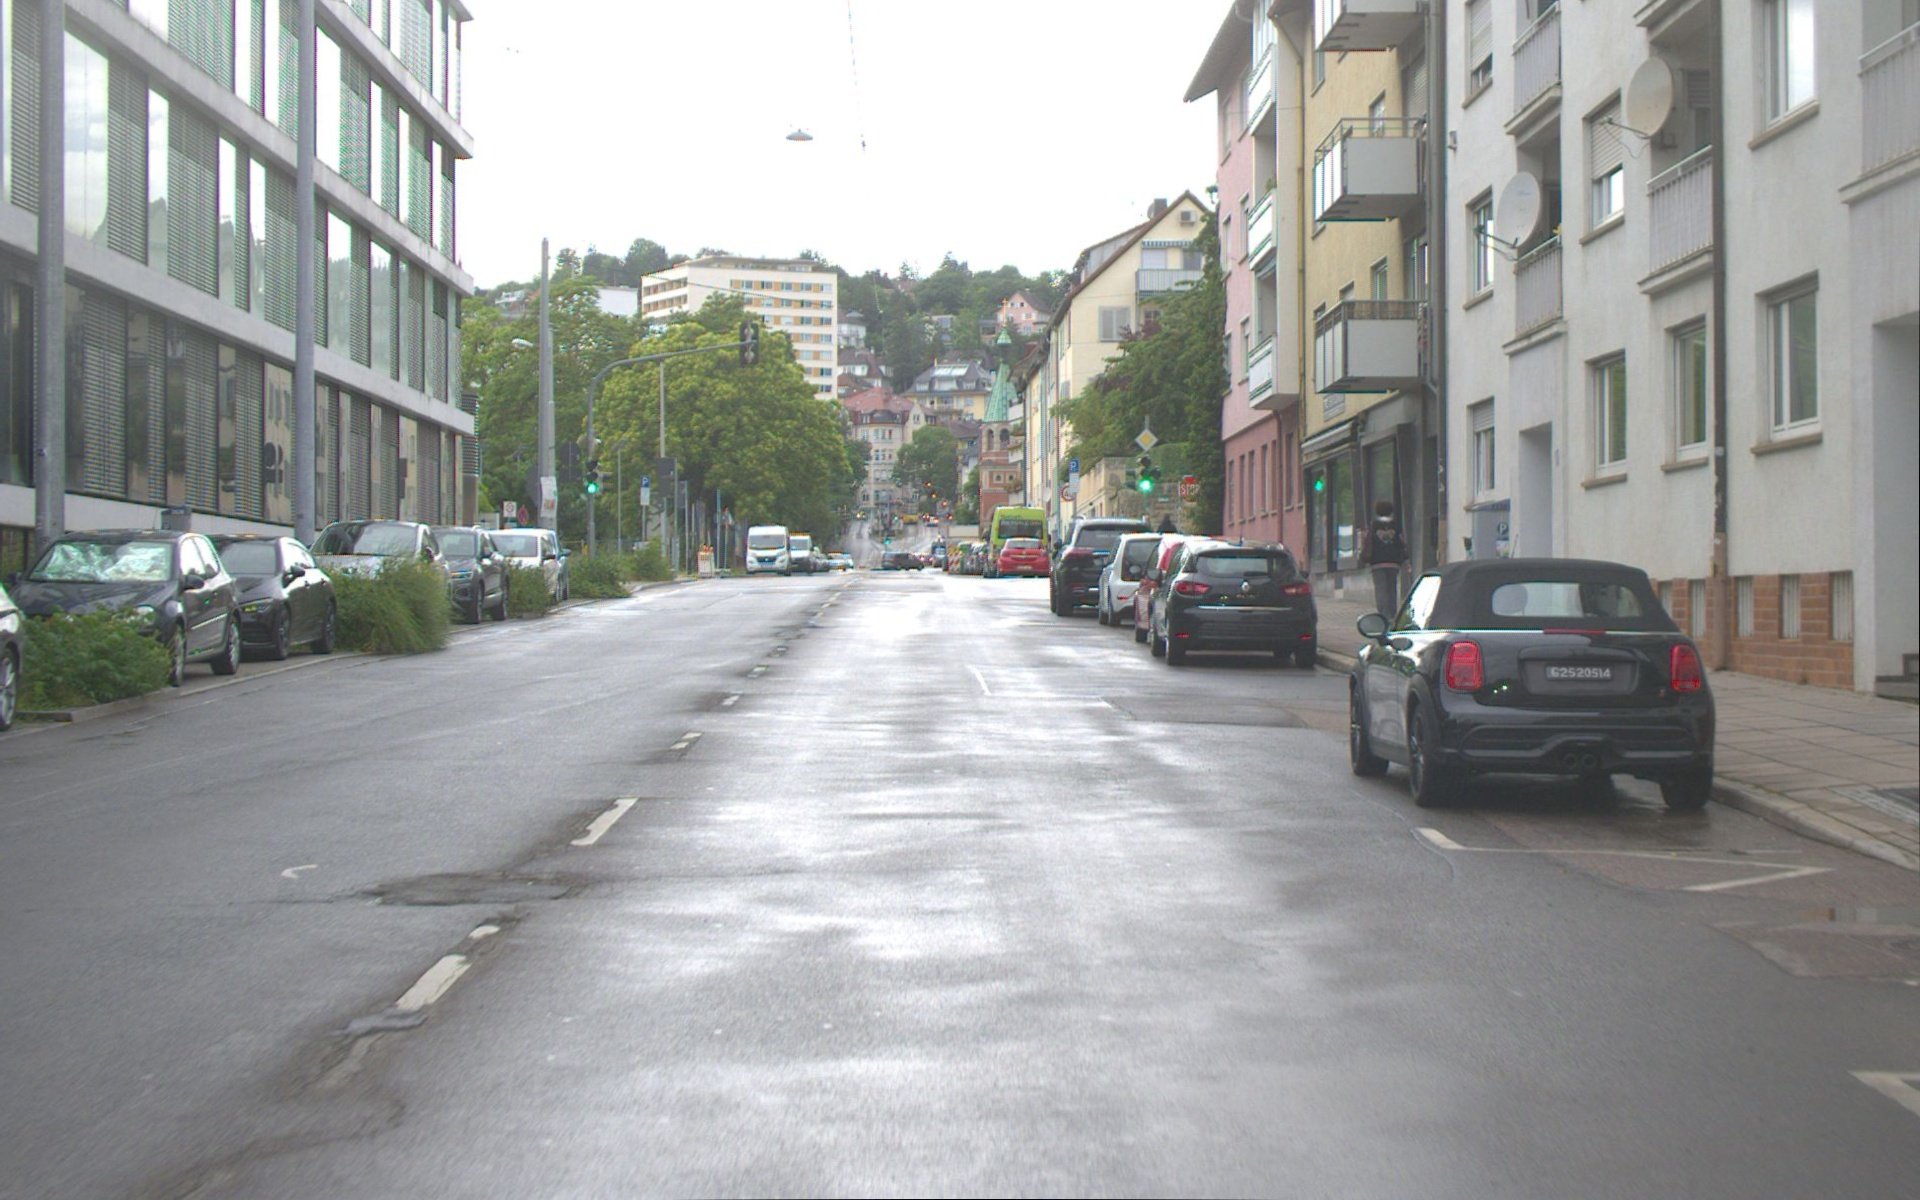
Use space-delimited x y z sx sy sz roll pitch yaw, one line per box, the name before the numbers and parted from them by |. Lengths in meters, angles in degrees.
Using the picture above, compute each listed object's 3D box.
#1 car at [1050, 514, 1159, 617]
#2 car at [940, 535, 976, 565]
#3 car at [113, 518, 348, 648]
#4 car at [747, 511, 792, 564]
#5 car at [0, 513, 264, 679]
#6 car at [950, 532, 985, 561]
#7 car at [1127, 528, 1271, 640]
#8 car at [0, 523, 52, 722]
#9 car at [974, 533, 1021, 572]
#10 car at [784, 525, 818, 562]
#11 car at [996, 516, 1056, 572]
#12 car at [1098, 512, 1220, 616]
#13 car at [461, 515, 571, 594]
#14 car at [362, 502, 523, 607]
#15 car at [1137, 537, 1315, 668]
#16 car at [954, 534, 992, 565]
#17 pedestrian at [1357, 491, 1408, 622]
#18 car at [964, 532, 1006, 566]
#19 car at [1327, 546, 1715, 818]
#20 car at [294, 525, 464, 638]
car | 2.551 -0.648 61.501 1.654 1.732 4.180 1 2 -1
car | -0.099 -2.773 191.284 1.867 1.598 4.189 1 0 2
car | -8.440 -0.214 40.135 1.837 1.391 4.392 1 1 -1
car | -9.337 -3.036 168.612 2.105 2.538 4.751 1 0 -3
car | -8.203 -0.066 33.791 1.863 1.484 4.347 1 1 -1
car | 0.468 -3.150 202.139 1.867 1.598 4.189 1 0 2
car | 3.176 -0.229 46.193 1.582 1.409 3.654 1 1 -1
car | -8.010 0.158 24.447 1.871 1.467 4.741 1 1 -1
car | 1.634 -2.034 148.404 1.867 1.598 4.189 1 0 2
car | -9.587 -3.401 207.475 1.866 2.134 4.359 1 0 -4
car | 2.194 -1.819 113.066 1.867 1.764 4.189 1 0 2
car | 3.134 -0.577 54.793 1.635 1.566 3.711 1 1 -1
car | -8.635 -0.902 67.060 1.595 1.454 3.719 1 1 1
car | -8.356 -0.715 55.820 1.801 1.598 4.234 1 0 2
car | 3.107 0.005 40.886 1.706 1.449 3.985 1 1 -1
car | 0.686 -2.681 183.118 1.867 1.598 4.189 1 0 2
pedestrian | 6.078 -0.621 49.511 0.639 1.864 0.538 1 0 1
car | 1.229 -2.468 167.762 1.867 1.598 4.189 1 0 2
car | 3.361 0.433 21.252 1.673 1.454 3.765 1 2 -1
car | -8.350 -0.304 49.740 1.771 1.529 4.316 1 1 -1
